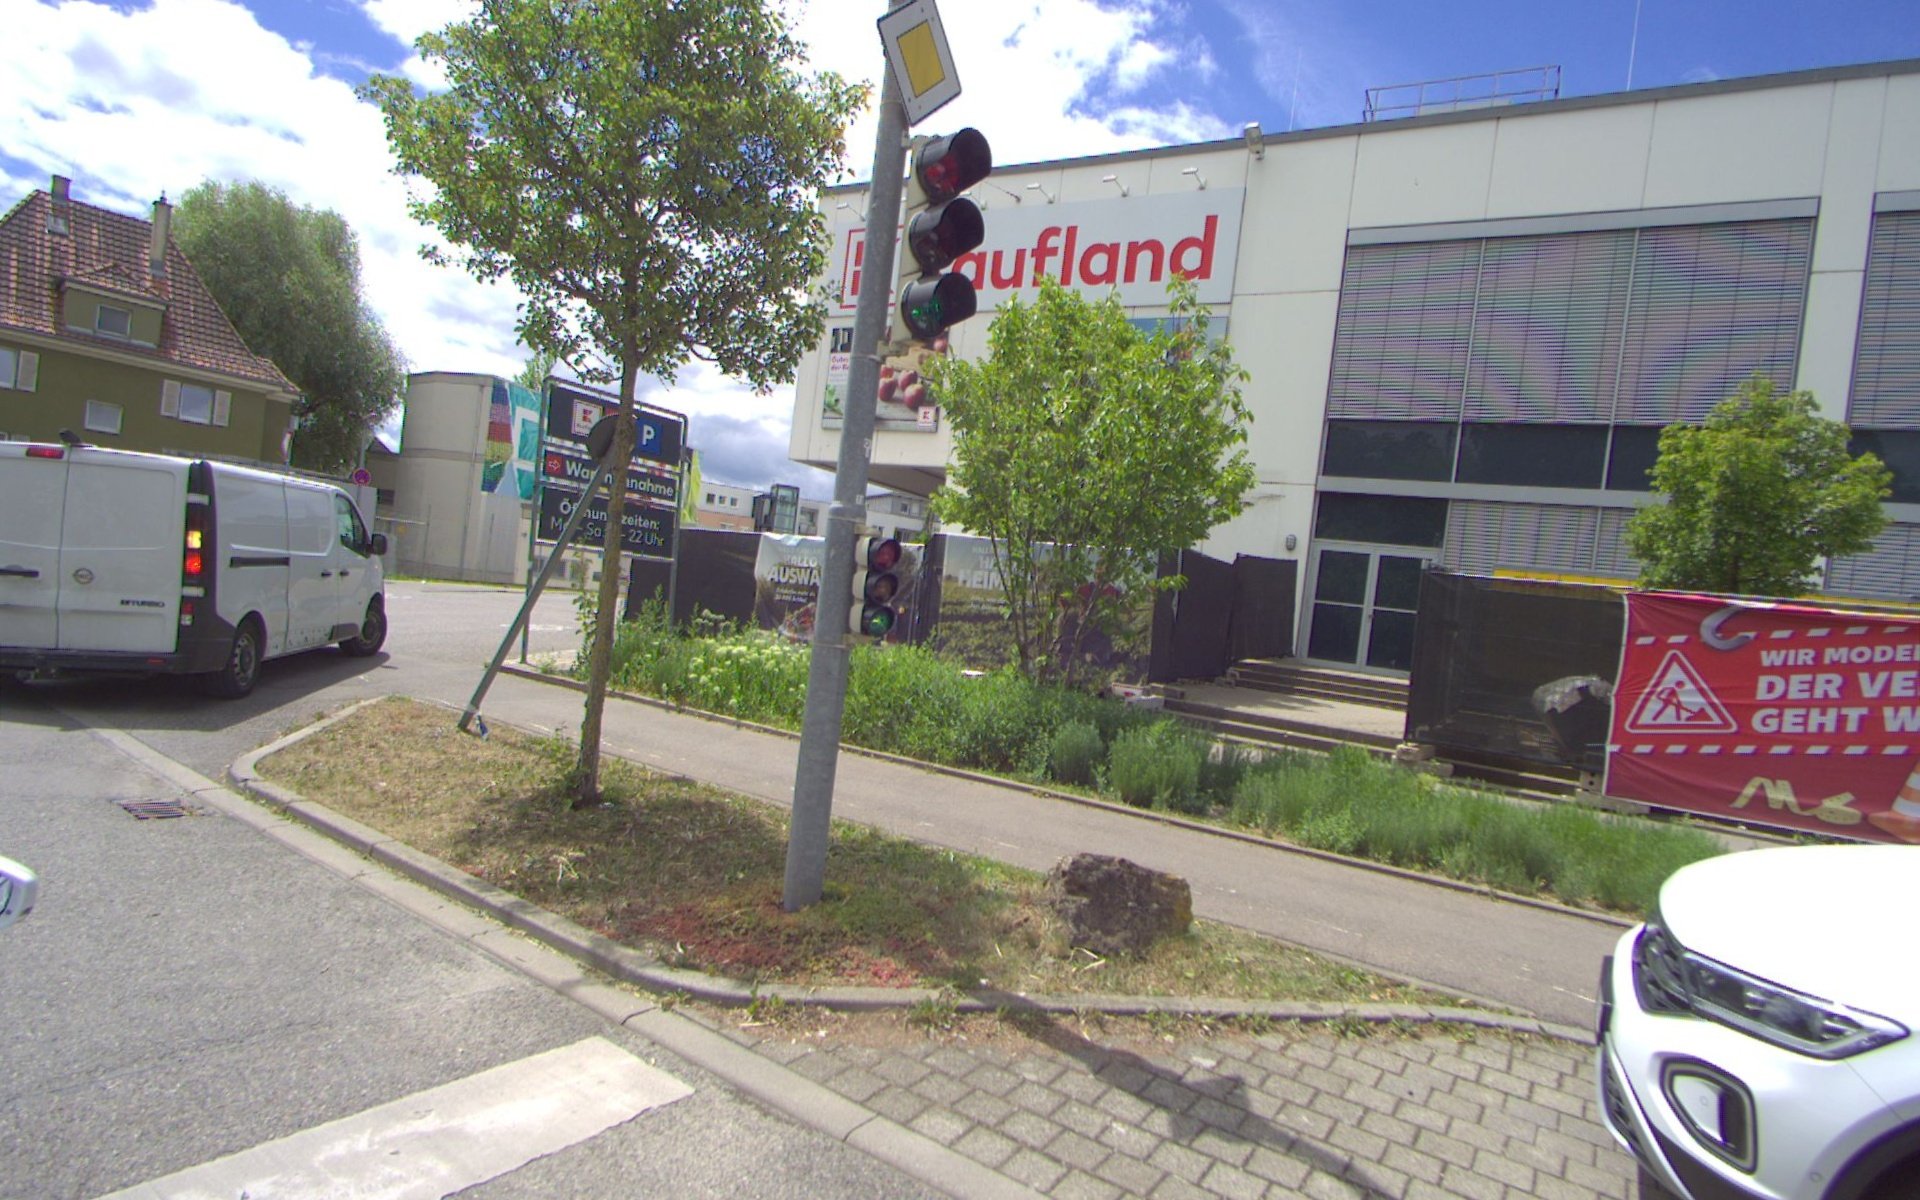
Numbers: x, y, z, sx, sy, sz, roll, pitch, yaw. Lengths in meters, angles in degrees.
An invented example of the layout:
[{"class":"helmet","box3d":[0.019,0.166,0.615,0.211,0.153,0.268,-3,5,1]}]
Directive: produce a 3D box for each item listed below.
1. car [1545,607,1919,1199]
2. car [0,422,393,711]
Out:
[{"class":"car","box3d":[3.666,1.036,1.864,4.315,1.638,1.737,6,2,33]},{"class":"car","box3d":[-7.215,-0.355,9.608,1.915,1.986,4.814,5,1,-16]}]
